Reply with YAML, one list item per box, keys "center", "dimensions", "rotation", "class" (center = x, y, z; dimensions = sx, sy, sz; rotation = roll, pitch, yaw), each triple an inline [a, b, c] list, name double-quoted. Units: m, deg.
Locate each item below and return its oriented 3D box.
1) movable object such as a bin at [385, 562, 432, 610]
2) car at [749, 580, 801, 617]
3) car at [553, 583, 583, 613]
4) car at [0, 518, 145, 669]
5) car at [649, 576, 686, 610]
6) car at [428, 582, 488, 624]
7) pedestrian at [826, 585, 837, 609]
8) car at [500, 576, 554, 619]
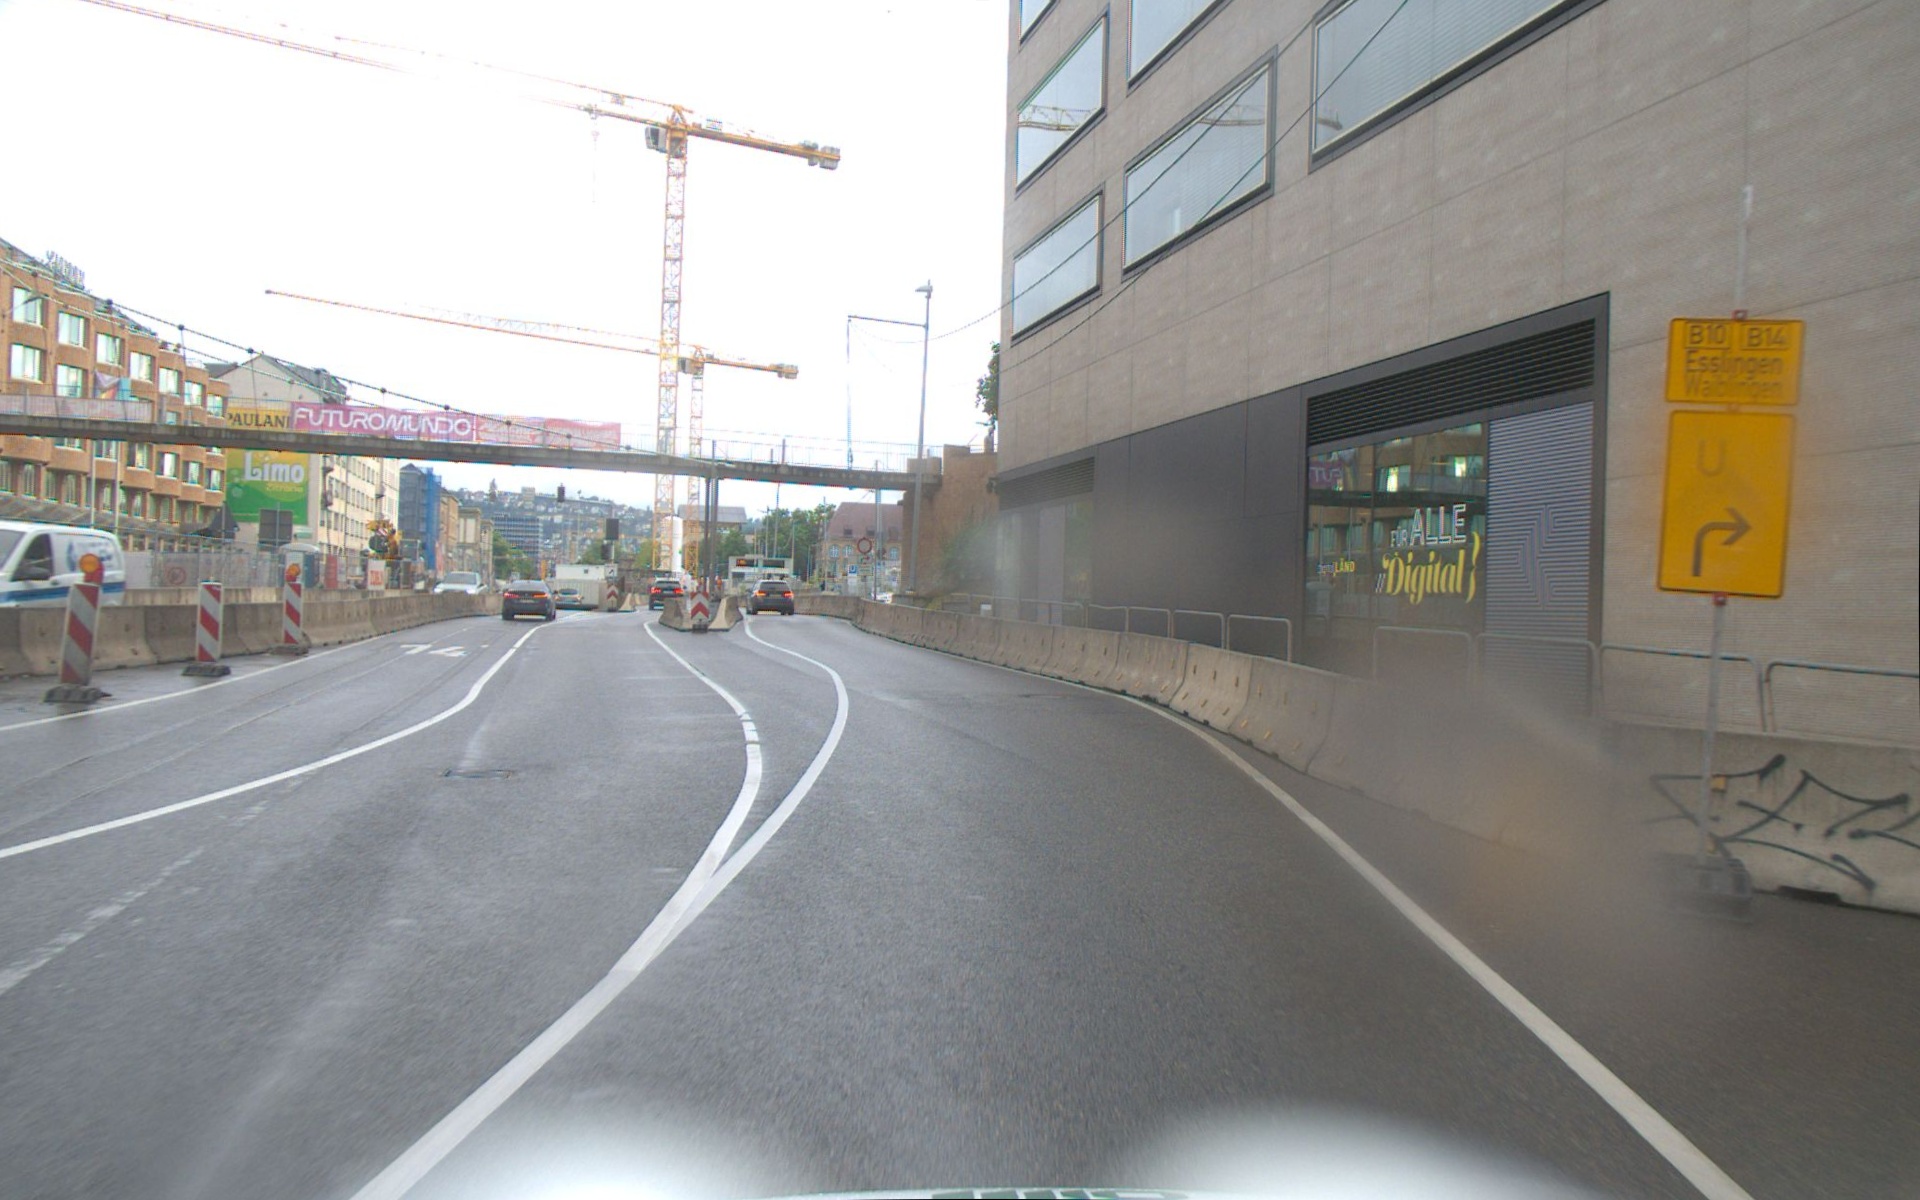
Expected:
- center: [-28.373, -0.715, 85.181]
  dimensions: [1.993, 2.317, 4.276]
  rotation: [-2, 1, -15]
  class: "movable object such as a bin"
- center: [-7.900, -0.099, 70.232]
  dimensions: [1.829, 1.458, 4.644]
  rotation: [2, 0, -11]
  class: "car"
- center: [-25.425, -0.161, 107.255]
  dimensions: [1.831, 1.796, 4.640]
  rotation: [2, 0, -13]
  class: "car"
- center: [-13.391, -0.132, 23.058]
  dimensions: [1.955, 1.918, 4.865]
  rotation: [2, 0, -5]
  class: "car"
- center: [-15.346, -0.375, 86.894]
  dimensions: [1.829, 1.689, 4.645]
  rotation: [2, 0, -10]
  class: "car"
- center: [-21.753, 0.092, 71.853]
  dimensions: [1.958, 1.651, 4.690]
  rotation: [1, 1, -11]
  class: "car"
- center: [-9.651, -0.233, 123.816]
  dimensions: [0.677, 1.809, 1.020]
  rotation: [1, -1, -11]
  class: "pedestrian"
- center: [-16.078, -0.130, 61.470]
  dimensions: [1.832, 1.468, 4.639]
  rotation: [2, 0, -14]
  class: "car"
